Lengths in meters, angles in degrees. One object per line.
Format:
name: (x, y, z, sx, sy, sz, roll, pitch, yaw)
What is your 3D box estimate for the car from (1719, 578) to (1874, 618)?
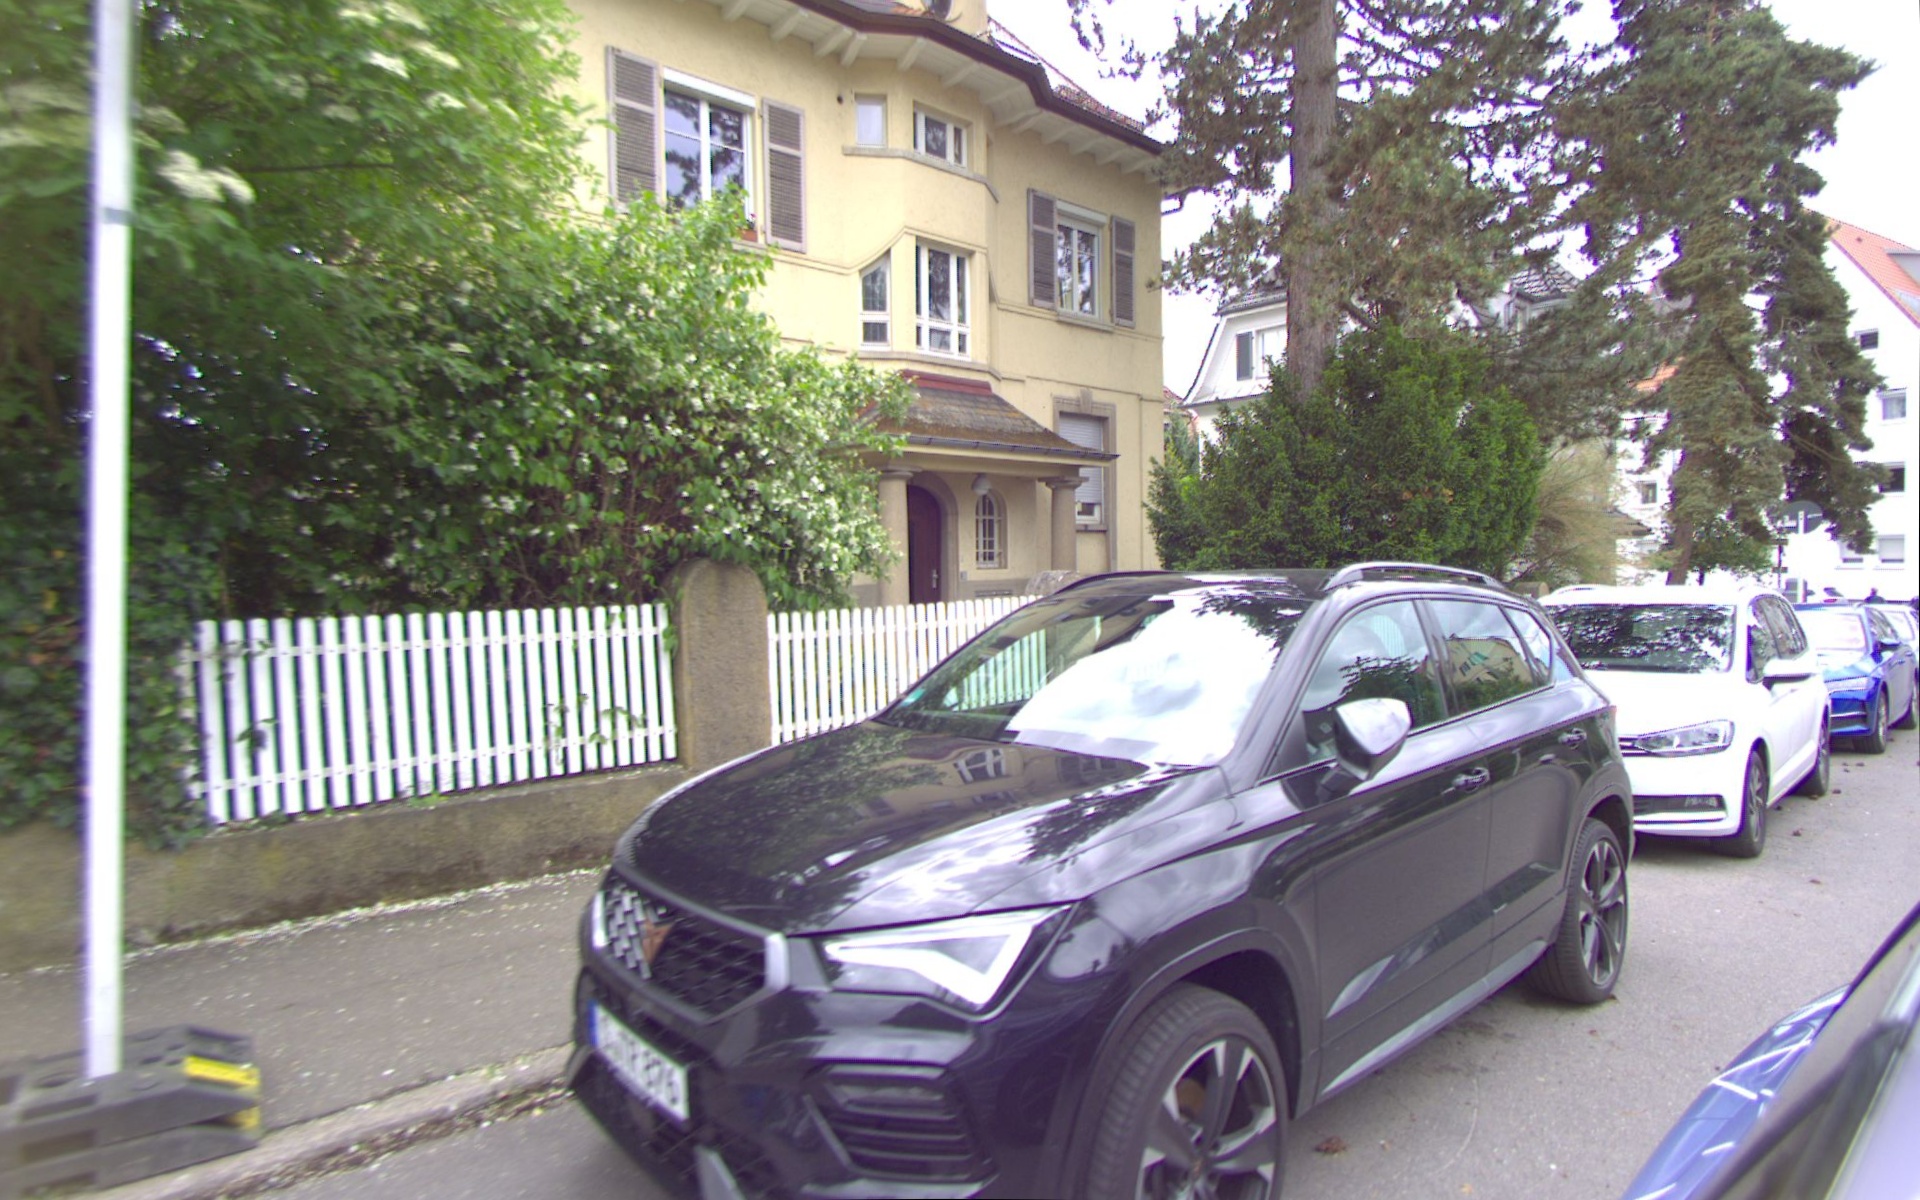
car: (32.746, -0.088, 39.750, 1.728, 1.468, 4.365, -1, 1, -28)

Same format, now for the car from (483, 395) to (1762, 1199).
car: (0.915, 0.572, 3.131, 4.005, 1.628, 1.752, -1, -1, -41)

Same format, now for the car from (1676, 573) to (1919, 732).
car: (9.578, 0.457, 11.327, 3.981, 1.477, 1.650, -1, 0, -41)

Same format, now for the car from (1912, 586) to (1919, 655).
car: (22.941, 0.429, 23.102, 2.820, 1.551, 1.572, -1, -2, -44)

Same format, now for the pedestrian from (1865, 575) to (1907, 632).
pedestrian: (27.078, 0.094, 29.590, 0.889, 1.595, 0.683, -2, 4, -35)

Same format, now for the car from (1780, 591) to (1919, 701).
car: (13.326, 0.589, 14.706, 3.591, 1.418, 1.576, 0, -1, -41)
